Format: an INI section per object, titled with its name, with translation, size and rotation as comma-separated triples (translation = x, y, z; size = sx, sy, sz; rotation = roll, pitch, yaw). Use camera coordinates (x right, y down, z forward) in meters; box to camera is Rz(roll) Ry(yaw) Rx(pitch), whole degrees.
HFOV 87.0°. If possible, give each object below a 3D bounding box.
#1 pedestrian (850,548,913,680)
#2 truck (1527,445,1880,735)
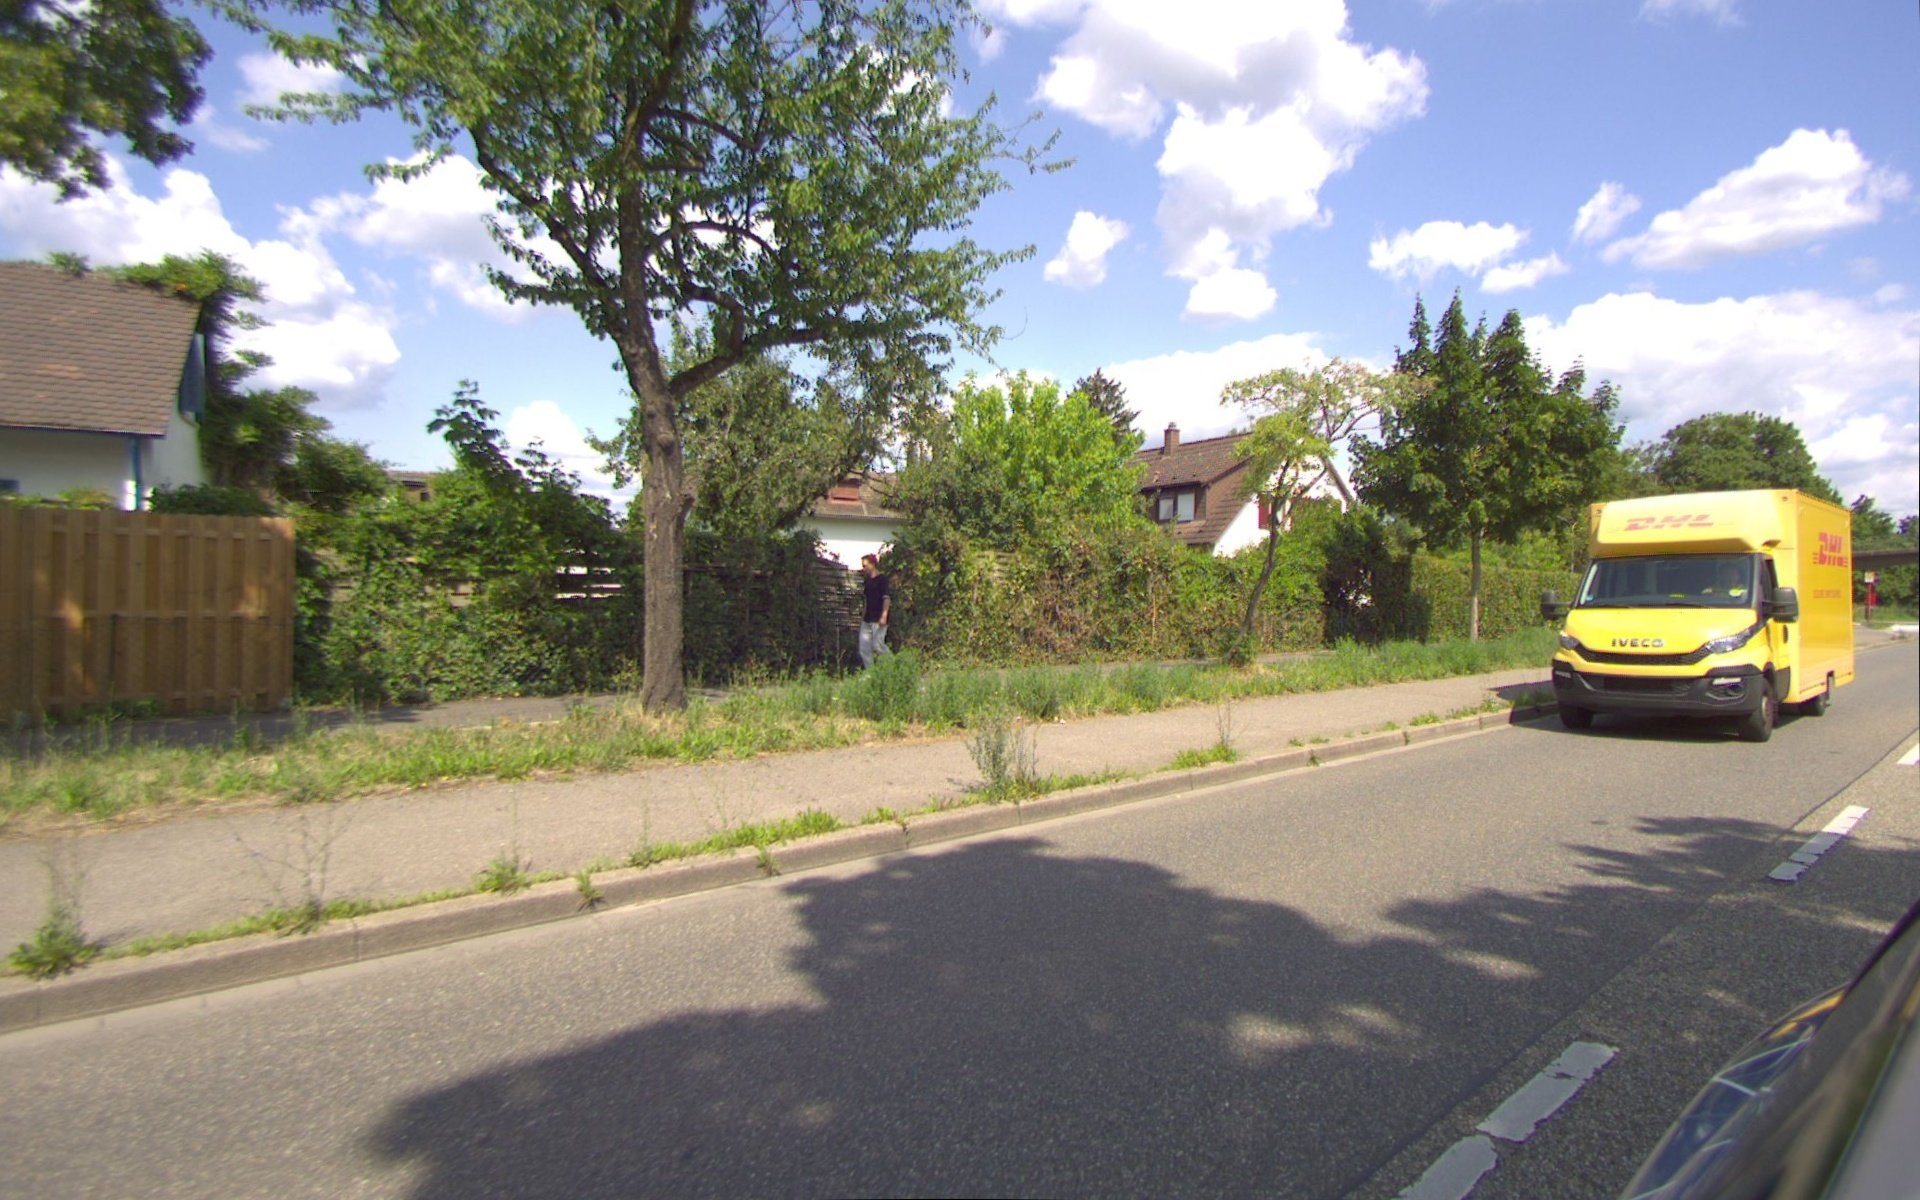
[pedestrian]
translation = -1.045, 0.173, 13.429
size = 0.623, 1.698, 0.561
rotation = 0, 0, -41
[truck]
translation = 10.348, -0.053, 13.672
size = 7.888, 2.917, 2.268
rotation = 1, -1, -42
